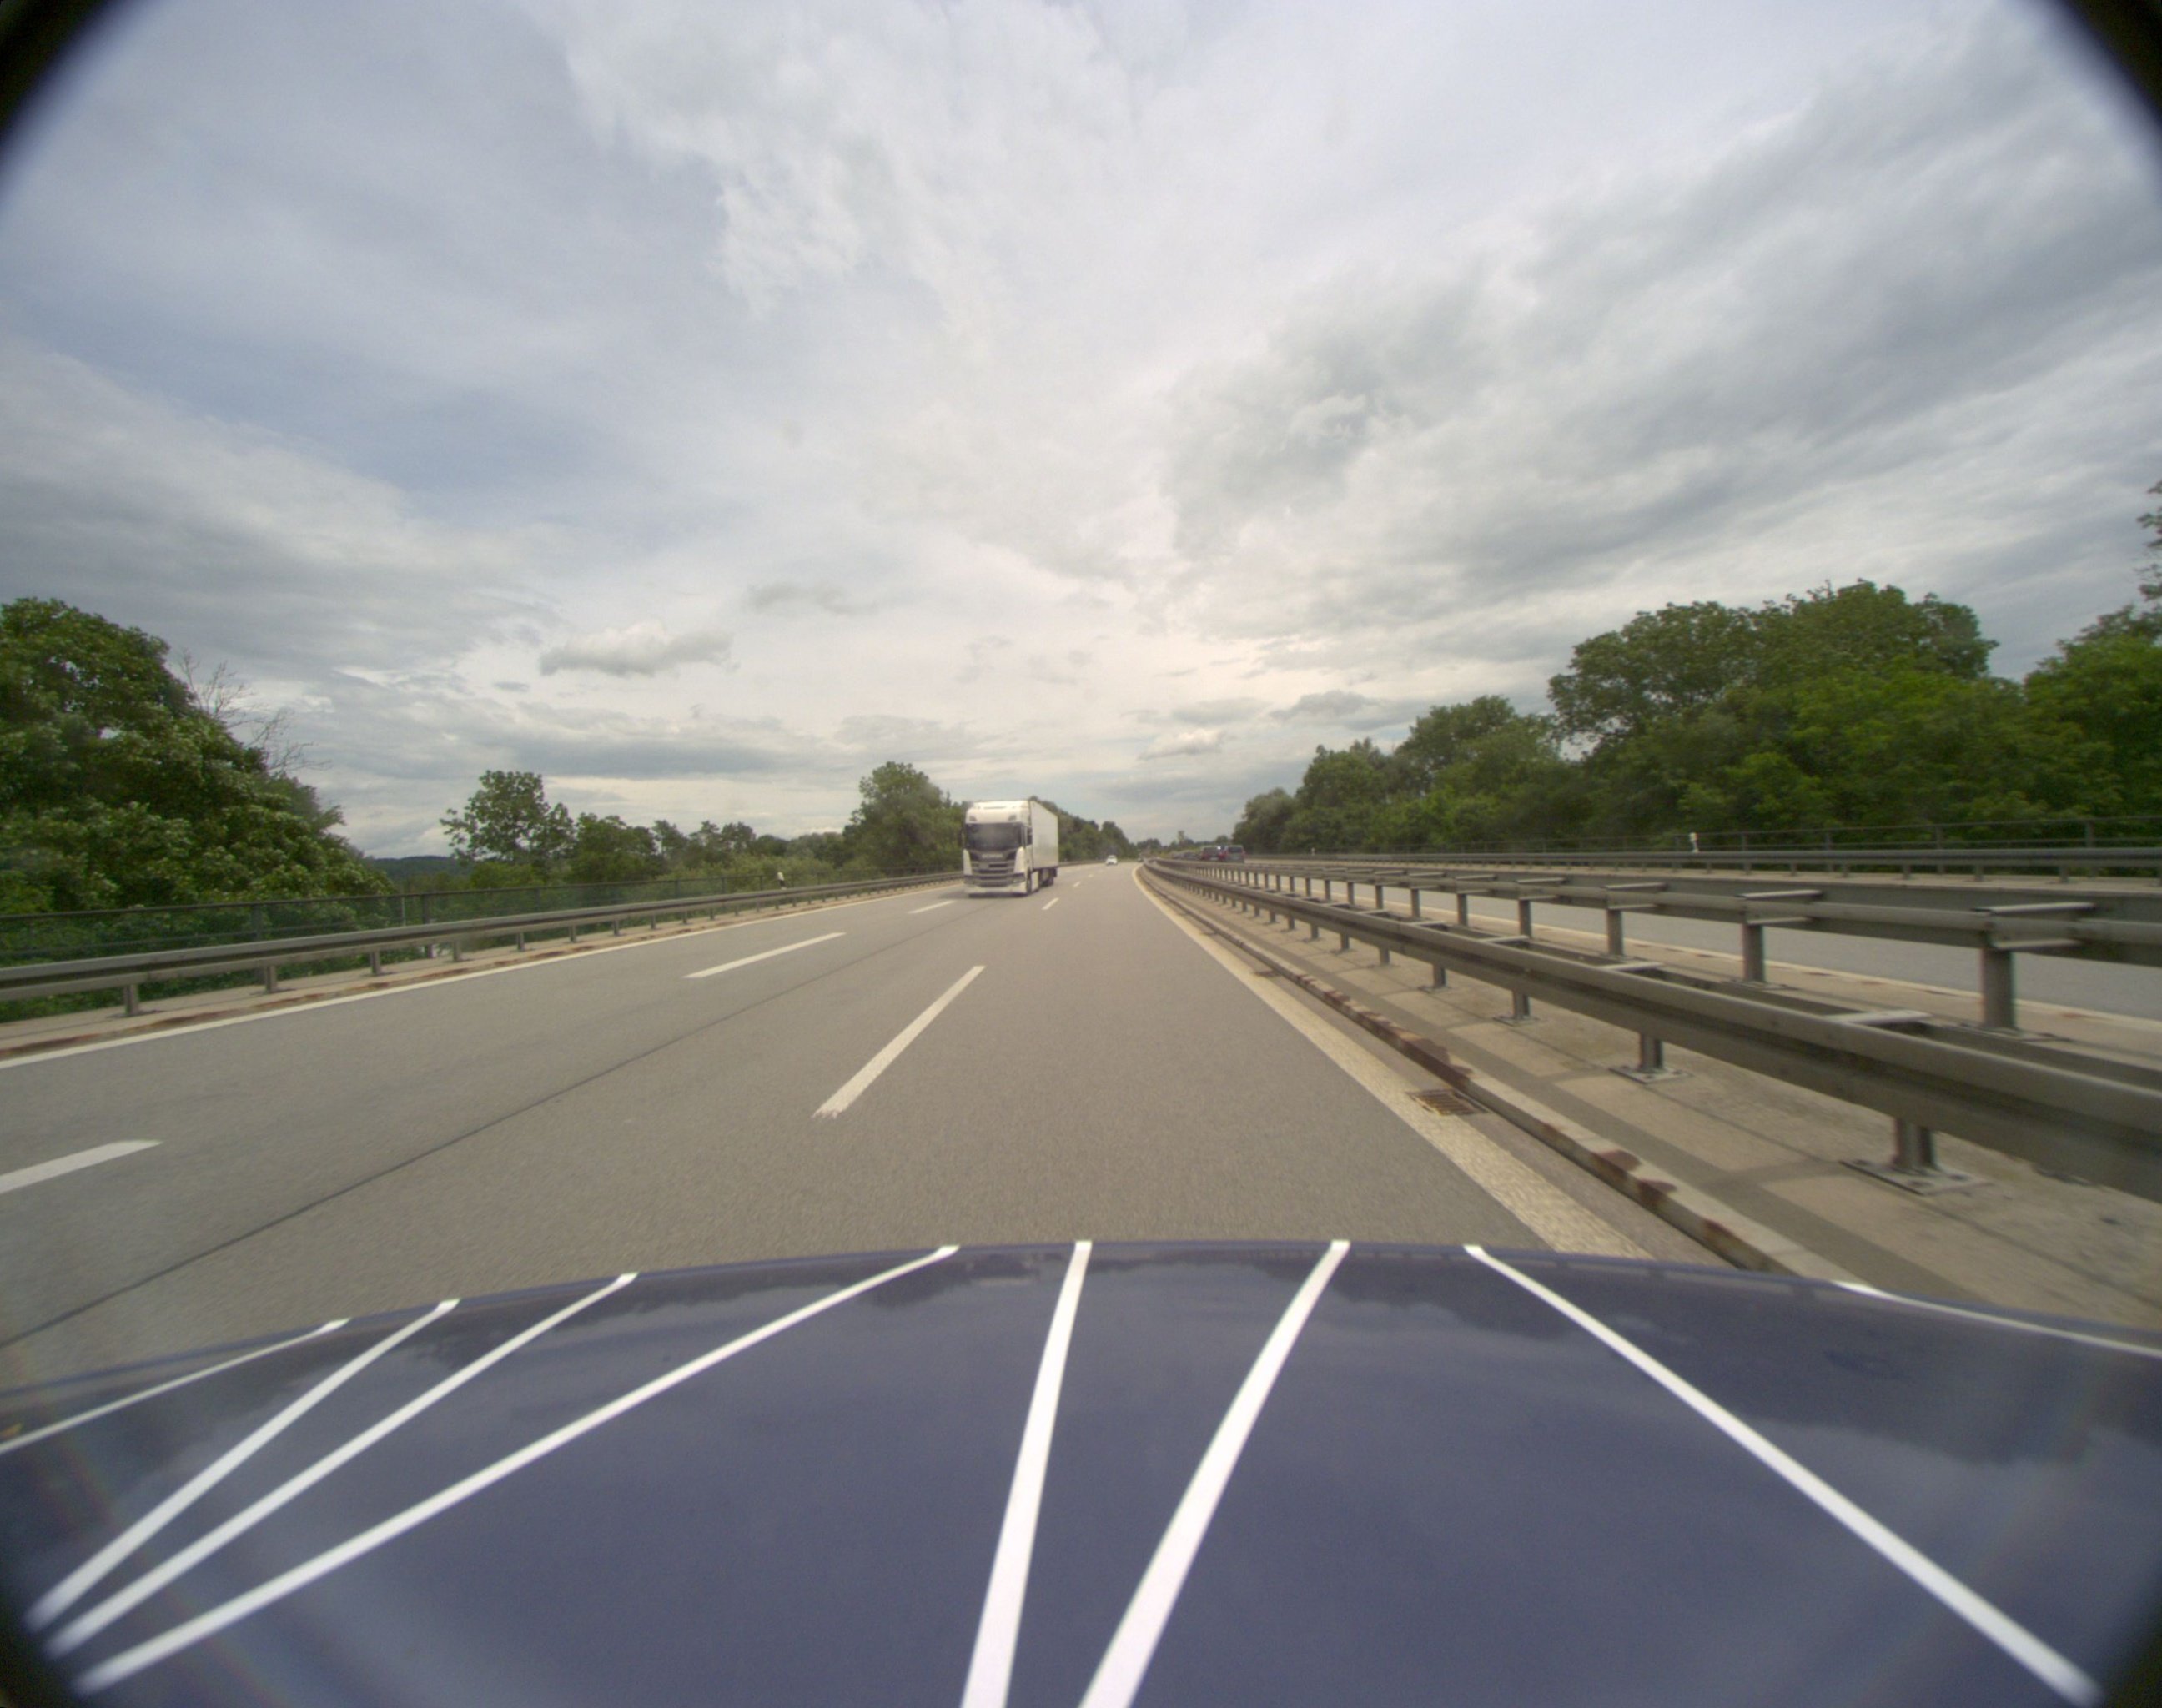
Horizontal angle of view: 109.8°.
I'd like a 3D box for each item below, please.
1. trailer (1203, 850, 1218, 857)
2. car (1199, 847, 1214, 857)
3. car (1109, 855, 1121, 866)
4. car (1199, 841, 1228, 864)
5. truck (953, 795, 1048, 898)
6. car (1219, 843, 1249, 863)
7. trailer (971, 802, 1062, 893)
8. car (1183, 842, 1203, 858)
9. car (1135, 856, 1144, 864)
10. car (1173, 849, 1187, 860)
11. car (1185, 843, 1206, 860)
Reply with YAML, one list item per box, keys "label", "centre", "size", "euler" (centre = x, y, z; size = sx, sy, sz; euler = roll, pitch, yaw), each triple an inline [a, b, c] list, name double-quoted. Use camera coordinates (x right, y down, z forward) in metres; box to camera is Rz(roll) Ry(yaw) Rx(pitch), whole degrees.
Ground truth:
- label: "trailer"
  centre: [18.985, -0.087, 111.502]
  size: [1.672, 0.946, 4.001]
  euler: [-3, 0, 3]
- label: "car"
  centre: [19.191, -0.329, 115.989]
  size: [1.741, 1.401, 4.943]
  euler: [-2, 0, 3]
- label: "car"
  centre: [5.721, 1.096, 128.982]
  size: [1.775, 1.813, 4.165]
  euler: [-3, 0, 1]
- label: "car"
  centre: [9.524, -0.112, 54.720]
  size: [1.648, 1.596, 4.001]
  euler: [0, 0, 4]
- label: "truck"
  centre: [-3.255, -0.280, 32.453]
  size: [3.069, 3.869, 6.001]
  euler: [-2, 0, 2]
- label: "car"
  centre: [14.116, -0.084, 70.294]
  size: [1.998, 1.735, 4.225]
  euler: [-3, 0, 3]
- label: "trailer"
  centre: [-2.996, -0.260, 40.209]
  size: [3.069, 3.867, 13.792]
  euler: [-2, 0, 2]
- label: "car"
  centre: [11.377, -0.372, 77.329]
  size: [1.647, 1.540, 4.001]
  euler: [-2, 0, 5]
- label: "car"
  centre: [12.823, 1.349, 166.689]
  size: [1.774, 1.474, 4.698]
  euler: [-3, 0, 4]
- label: "car"
  centre: [13.739, 0.117, 105.873]
  size: [1.695, 1.428, 4.112]
  euler: [-3, 0, 5]
- label: "car"
  centre: [10.580, -0.246, 70.393]
  size: [1.647, 1.540, 4.001]
  euler: [-2, 0, 5]
